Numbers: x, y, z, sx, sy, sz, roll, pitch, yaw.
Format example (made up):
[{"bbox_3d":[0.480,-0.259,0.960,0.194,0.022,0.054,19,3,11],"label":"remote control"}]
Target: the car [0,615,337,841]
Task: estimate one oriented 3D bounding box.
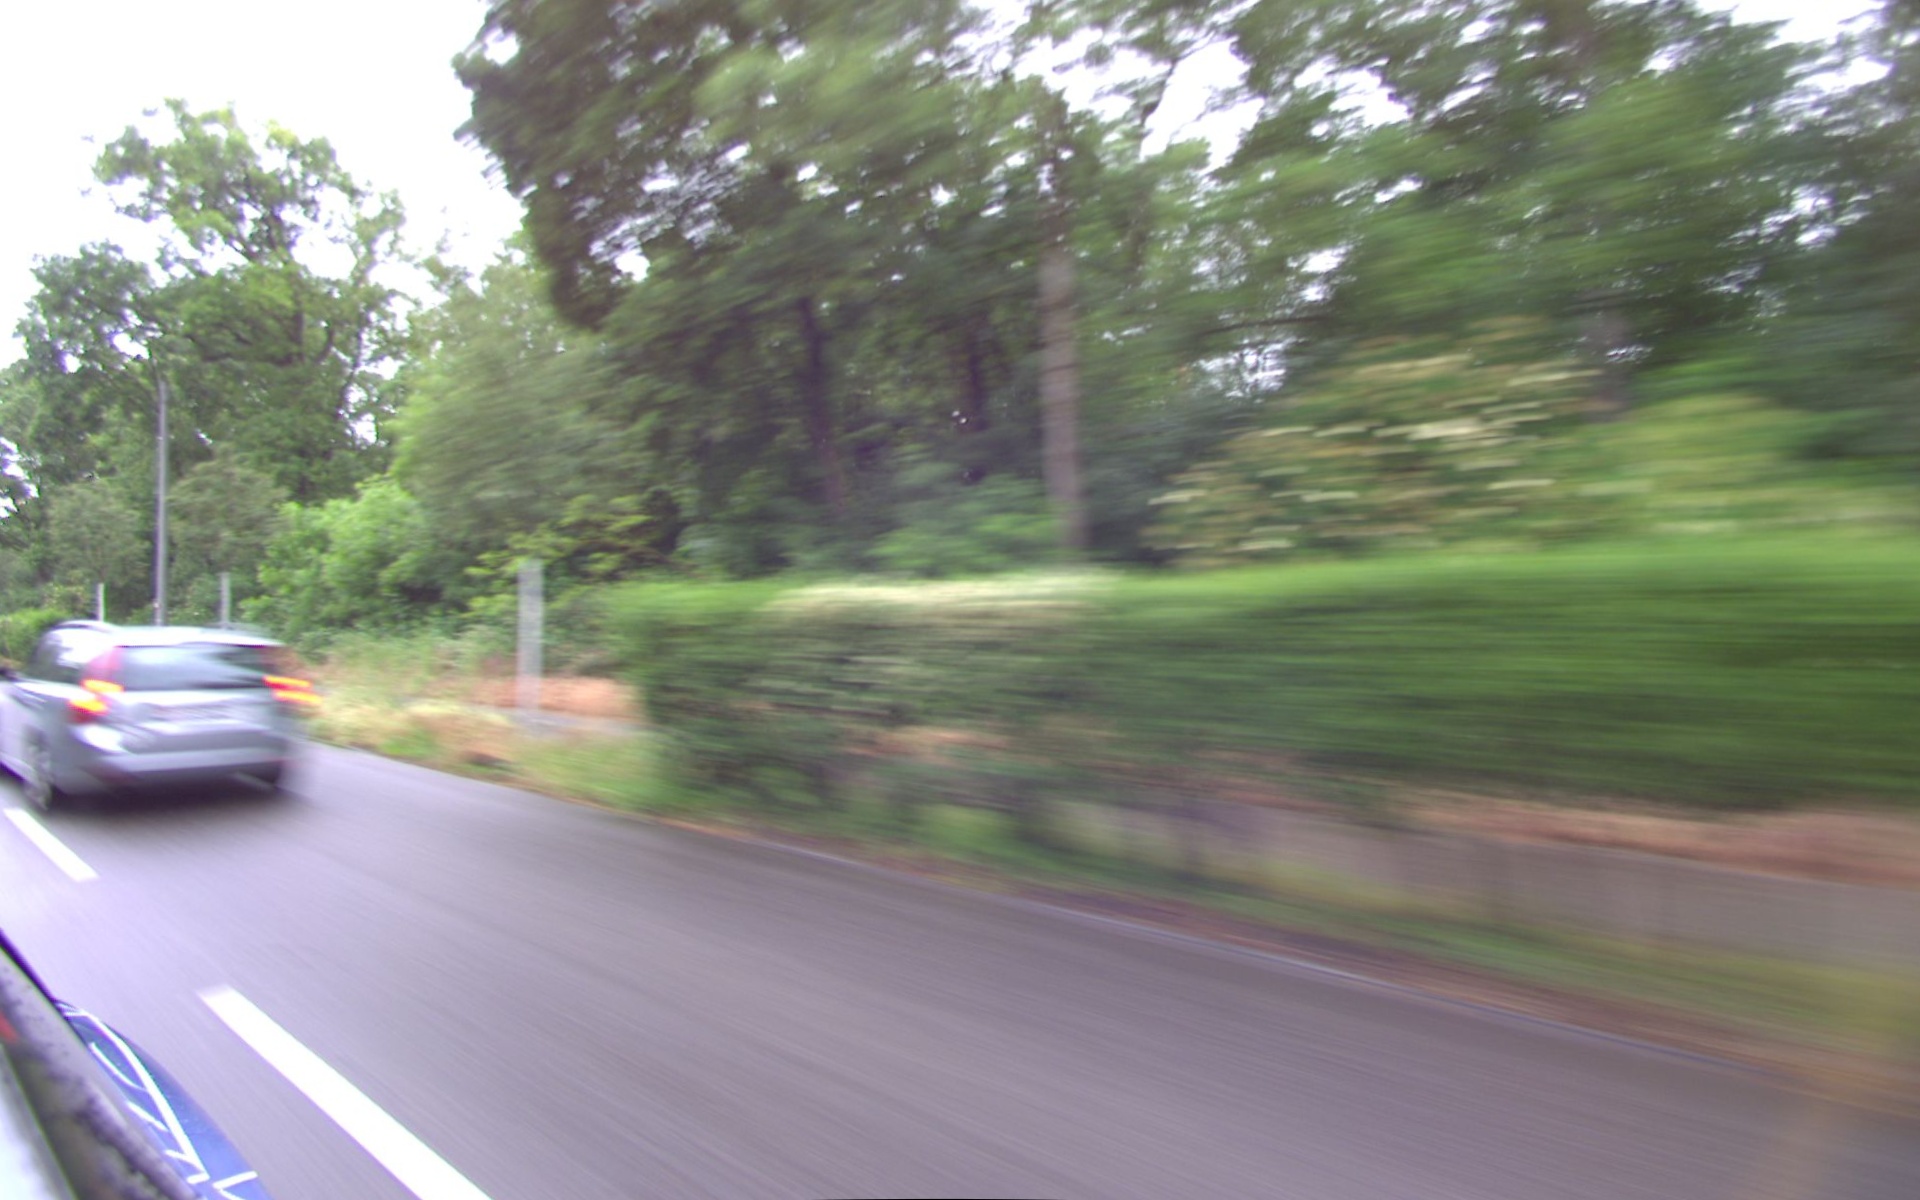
[{"bbox_3d":[-7.139,0.899,8.821,3.965,1.490,1.765,0,-1,41],"label":"car"}]
